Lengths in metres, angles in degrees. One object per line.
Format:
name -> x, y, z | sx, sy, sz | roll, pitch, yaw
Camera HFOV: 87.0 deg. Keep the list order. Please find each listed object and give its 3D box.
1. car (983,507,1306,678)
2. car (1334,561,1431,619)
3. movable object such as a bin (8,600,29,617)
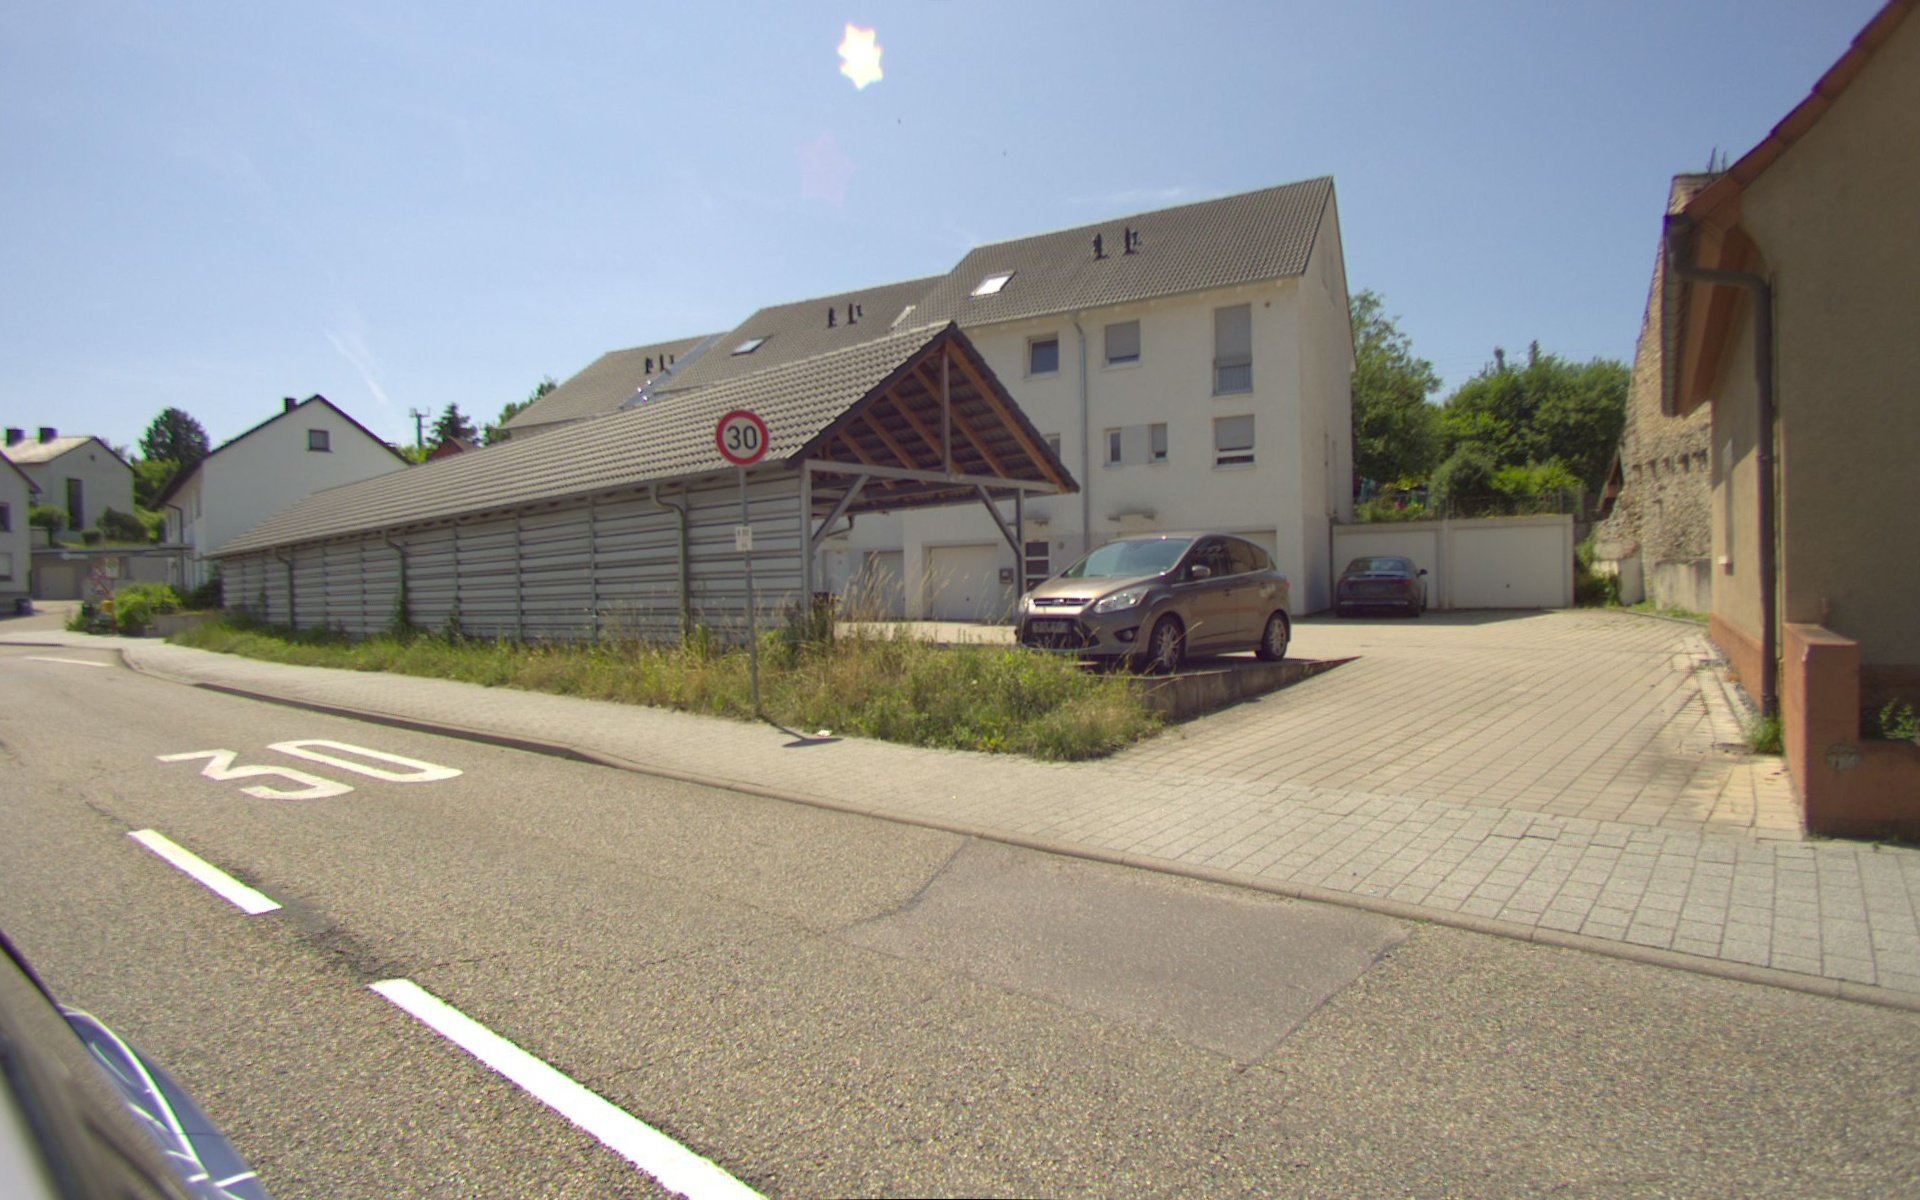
car -> 2.307, -0.093, 11.896 | 1.865, 1.650, 4.080 | -1, 0, 42
car -> 10.506, -0.290, 25.035 | 1.854, 1.291, 3.963 | -1, 1, 28
movable object such as a bin -> -51.450, 0.459, 55.319 | 0.591, 0.941, 0.601 | -1, 1, -5
